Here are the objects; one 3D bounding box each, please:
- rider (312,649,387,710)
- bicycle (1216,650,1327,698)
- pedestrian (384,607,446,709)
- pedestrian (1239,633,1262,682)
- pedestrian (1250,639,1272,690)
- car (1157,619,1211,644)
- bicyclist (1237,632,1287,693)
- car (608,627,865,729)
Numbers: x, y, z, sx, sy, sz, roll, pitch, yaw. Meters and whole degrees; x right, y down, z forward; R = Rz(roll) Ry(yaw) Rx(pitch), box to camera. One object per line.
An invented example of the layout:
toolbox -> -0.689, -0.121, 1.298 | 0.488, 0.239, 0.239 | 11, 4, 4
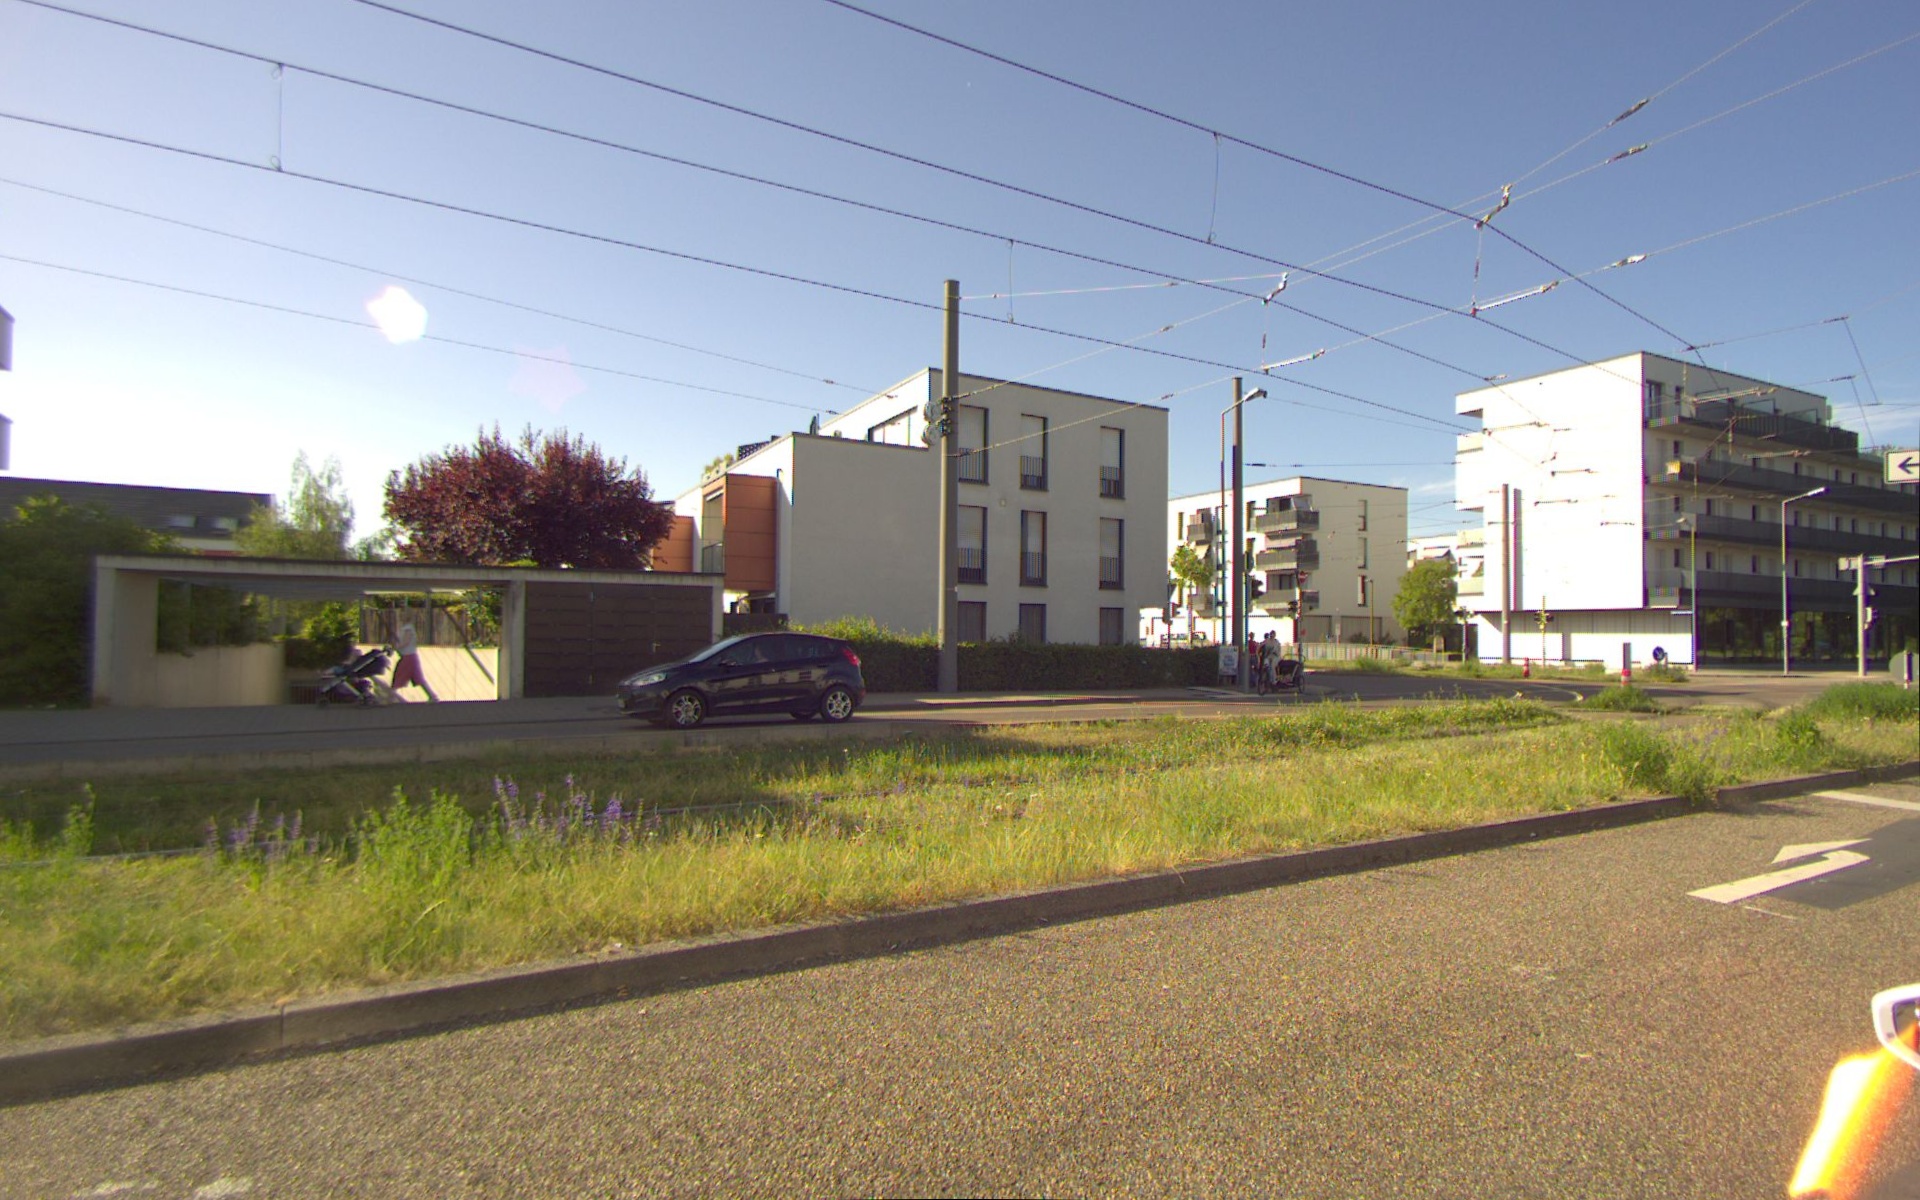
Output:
rider -> -10.697, 1.379, 17.640 | 1.031, 1.016, 0.775 | 1, 0, -25
bicycle -> 8.833, 2.055, 28.360 | 3.660, 1.190, 0.989 | 1, 1, -37
pedestrian -> -9.780, 1.020, 18.058 | 0.897, 1.771, 0.813 | 1, 0, -26
pedestrian -> 8.959, 1.766, 30.998 | 0.548, 1.483, 0.742 | 1, 0, 25
pedestrian -> 9.069, 1.938, 30.271 | 0.548, 1.483, 0.611 | 1, 0, 23
car -> 17.849, 2.479, 80.129 | 1.977, 1.862, 3.967 | 1, 0, -31
bicyclist -> 8.431, 1.722, 28.056 | 0.904, 1.651, 0.966 | 1, 0, -36
car -> -3.546, 1.195, 16.070 | 3.698, 1.449, 1.695 | 1, -4, -32
